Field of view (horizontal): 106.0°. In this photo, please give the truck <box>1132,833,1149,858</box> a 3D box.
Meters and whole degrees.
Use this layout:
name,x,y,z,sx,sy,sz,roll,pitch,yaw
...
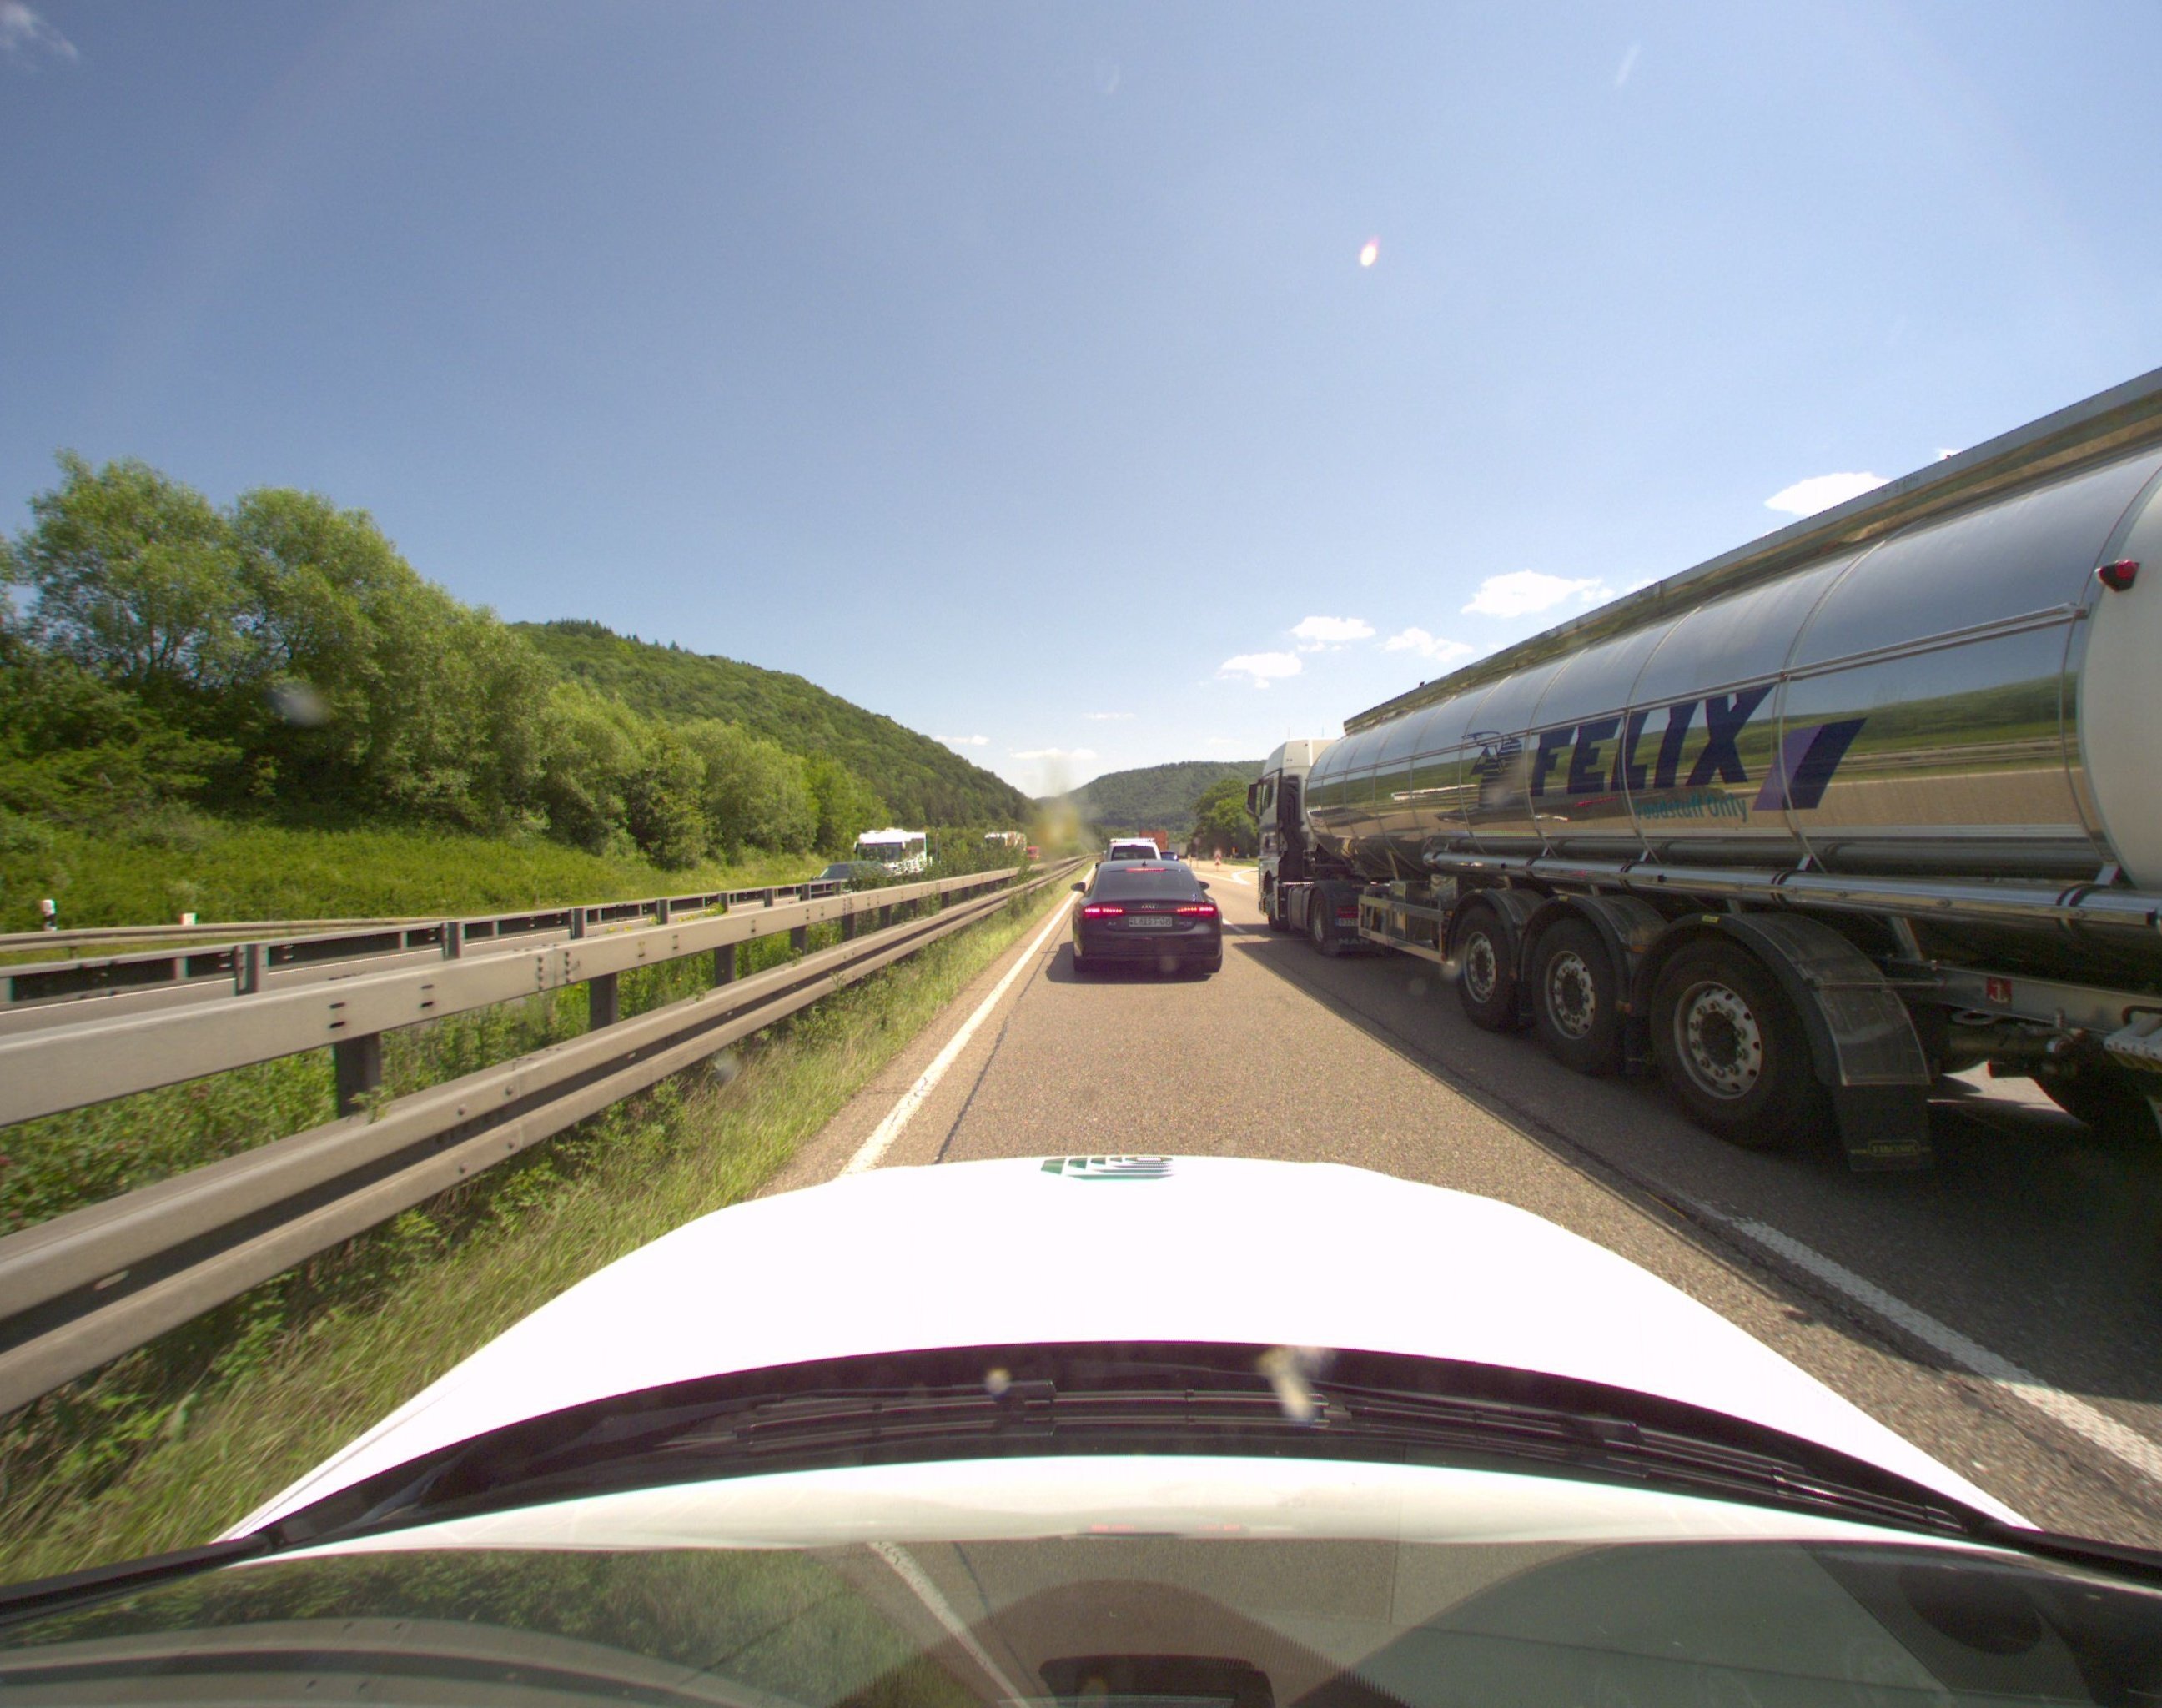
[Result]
name,x,y,z,sx,sy,sz,roll,pitch,yaw
truck,8.793,-1.189,120.699,1.986,3.447,11.817,-1,0,2

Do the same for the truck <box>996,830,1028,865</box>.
name,x,y,z,sx,sy,sz,roll,pitch,yaw
truck,-8.274,-0.765,98.404,2.859,3.980,9.035,-1,0,1

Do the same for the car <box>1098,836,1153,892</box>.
name,x,y,z,sx,sy,sz,roll,pitch,yaw
car,1.707,0.365,32.005,1.986,2.013,4.002,-1,0,2

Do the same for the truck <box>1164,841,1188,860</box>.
name,x,y,z,sx,sy,sz,roll,pitch,yaw
truck,23.629,-0.947,201.748,3.766,4.414,15.013,-2,0,14

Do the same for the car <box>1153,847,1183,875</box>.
name,x,y,z,sx,sy,sz,roll,pitch,yaw
car,6.595,0.474,62.023,1.985,2.002,4.003,-2,0,3

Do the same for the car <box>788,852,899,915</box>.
name,x,y,z,sx,sy,sz,roll,pitch,yaw
car,-6.934,0.803,24.288,1.768,1.651,4.494,-1,0,2

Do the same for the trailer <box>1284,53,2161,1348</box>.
name,x,y,z,sx,sy,sz,roll,pitch,yaw
trailer,4.529,-0.462,7.658,2.529,3.735,11.895,-1,0,1

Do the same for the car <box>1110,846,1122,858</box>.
name,x,y,z,sx,sy,sz,roll,pitch,yaw
car,5.026,-0.262,116.808,1.705,1.618,4.003,-2,0,3

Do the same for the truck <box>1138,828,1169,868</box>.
name,x,y,z,sx,sy,sz,roll,pitch,yaw
truck,7.870,-0.629,90.517,2.806,4.003,14.966,-1,0,3

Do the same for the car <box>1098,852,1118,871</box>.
name,x,y,z,sx,sy,sz,roll,pitch,yaw
car,2.415,0.616,72.392,1.705,1.618,4.003,-2,0,3

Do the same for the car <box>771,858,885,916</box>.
name,x,y,z,sx,sy,sz,roll,pitch,yaw
car,-7.196,0.888,23.686,1.791,1.464,4.538,-1,0,1

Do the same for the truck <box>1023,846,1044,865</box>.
name,x,y,z,sx,sy,sz,roll,pitch,yaw
truck,-6.973,0.194,121.127,2.287,2.588,7.973,-2,0,2

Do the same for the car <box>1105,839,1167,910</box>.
name,x,y,z,sx,sy,sz,roll,pitch,yaw
car,1.503,0.528,23.229,1.570,1.833,4.002,-1,0,2

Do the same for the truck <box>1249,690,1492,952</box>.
name,x,y,z,sx,sy,sz,roll,pitch,yaw
truck,4.725,-0.490,14.402,2.502,3.758,5.247,-1,0,1

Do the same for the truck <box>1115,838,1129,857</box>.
name,x,y,z,sx,sy,sz,roll,pitch,yaw
truck,7.700,-1.159,153.715,2.618,3.440,11.427,-2,0,2

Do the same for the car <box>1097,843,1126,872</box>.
name,x,y,z,sx,sy,sz,roll,pitch,yaw
car,2.212,0.254,59.596,1.986,2.013,4.001,-2,0,1

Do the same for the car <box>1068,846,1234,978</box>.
name,x,y,z,sx,sy,sz,roll,pitch,yaw
car,0.774,0.662,11.401,1.844,1.488,4.080,-1,0,-2

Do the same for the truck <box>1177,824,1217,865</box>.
name,x,y,z,sx,sy,sz,roll,pitch,yaw
truck,12.309,-0.918,87.799,2.806,4.003,14.966,-1,0,3

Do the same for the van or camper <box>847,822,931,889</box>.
name,x,y,z,sx,sy,sz,roll,pitch,yaw
van or camper,-10.498,0.074,45.342,2.580,3.335,7.651,-2,0,2

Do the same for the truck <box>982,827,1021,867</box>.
name,x,y,z,sx,sy,sz,roll,pitch,yaw
truck,-8.537,-0.734,88.800,2.859,4.006,10.174,-1,0,1
